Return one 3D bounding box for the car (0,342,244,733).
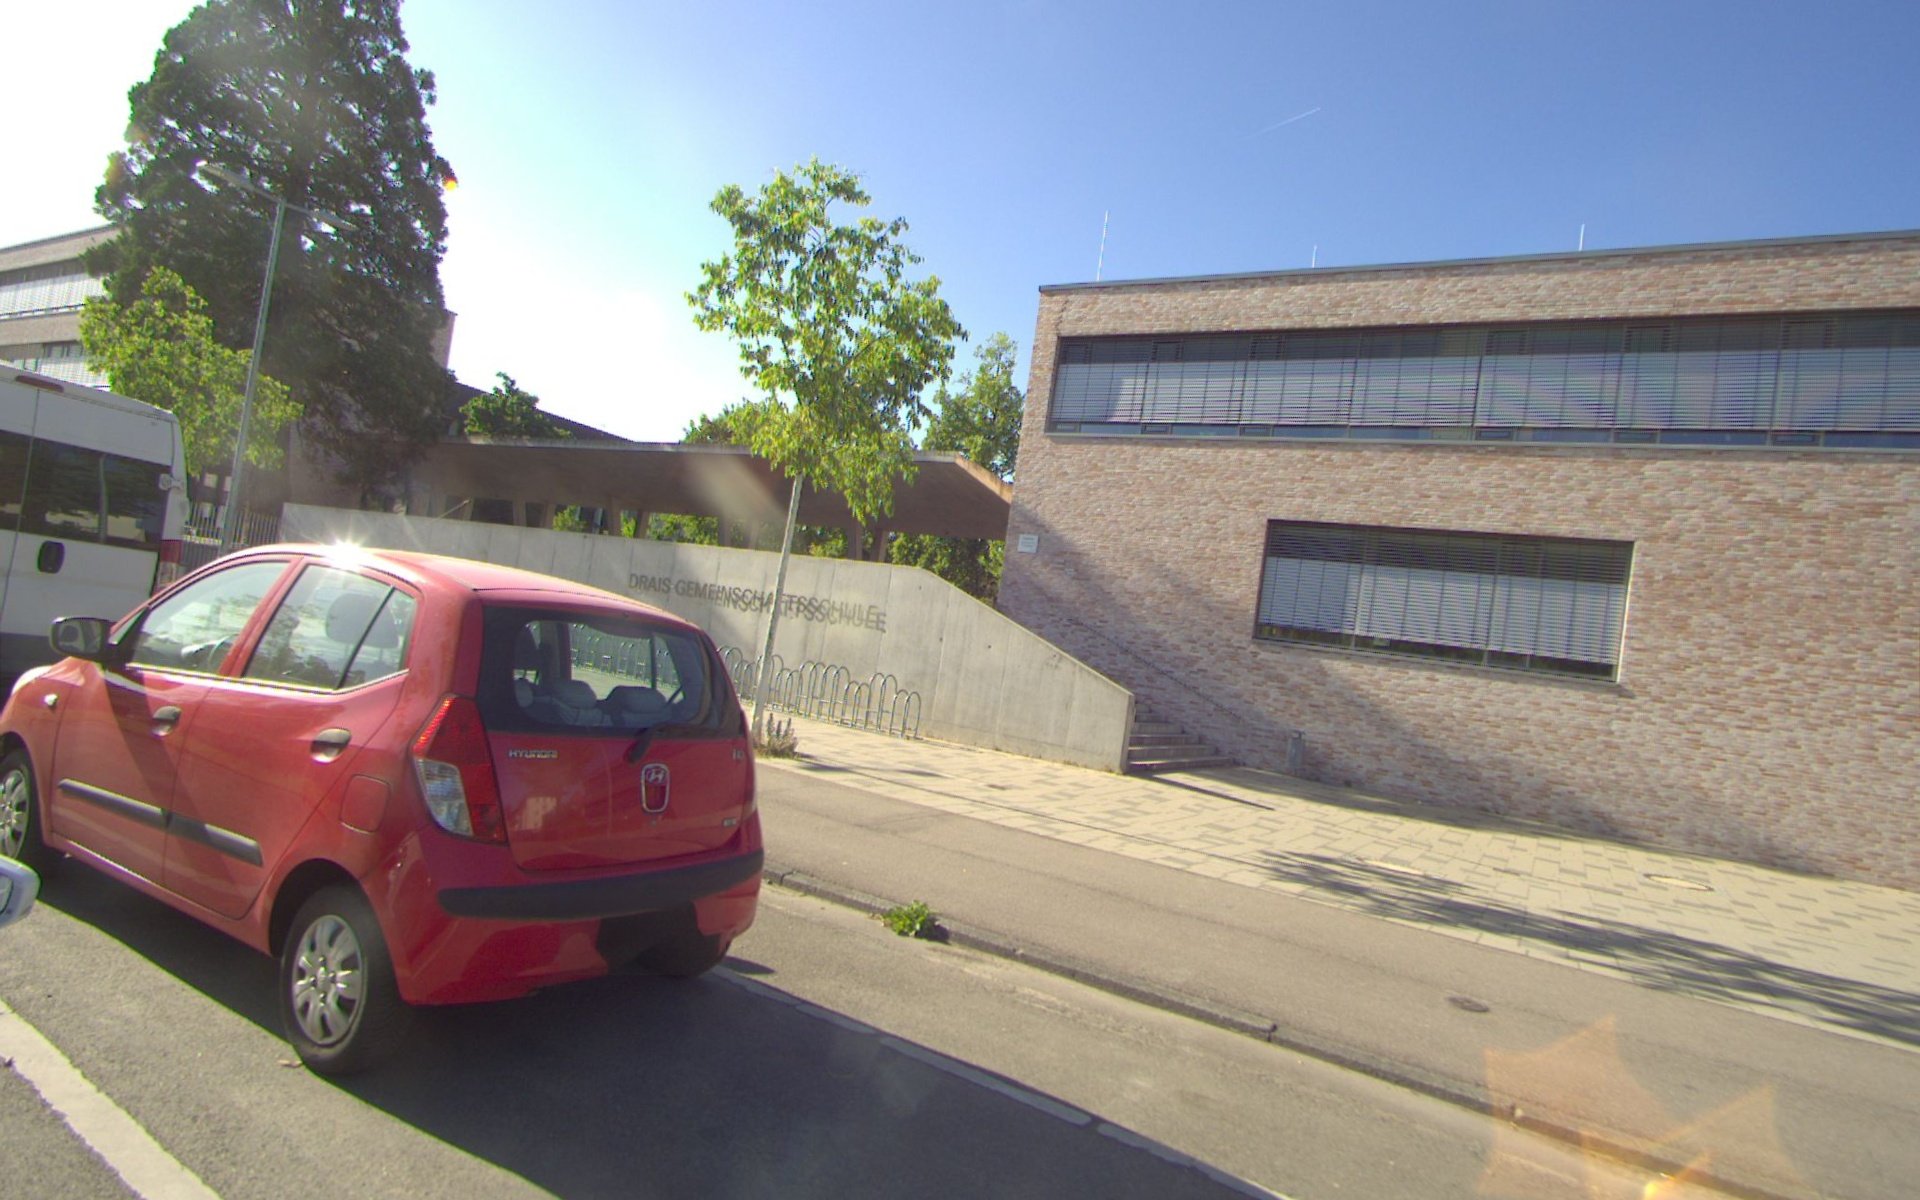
[{"bbox_3d":[-8.676,-0.649,8.394,5.343,2.602,2.247,7,-3,32],"label":"car"}]

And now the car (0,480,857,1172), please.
[{"bbox_3d":[-2.427,0.554,4.136,3.530,1.606,1.624,7,-3,29],"label":"car"}]
